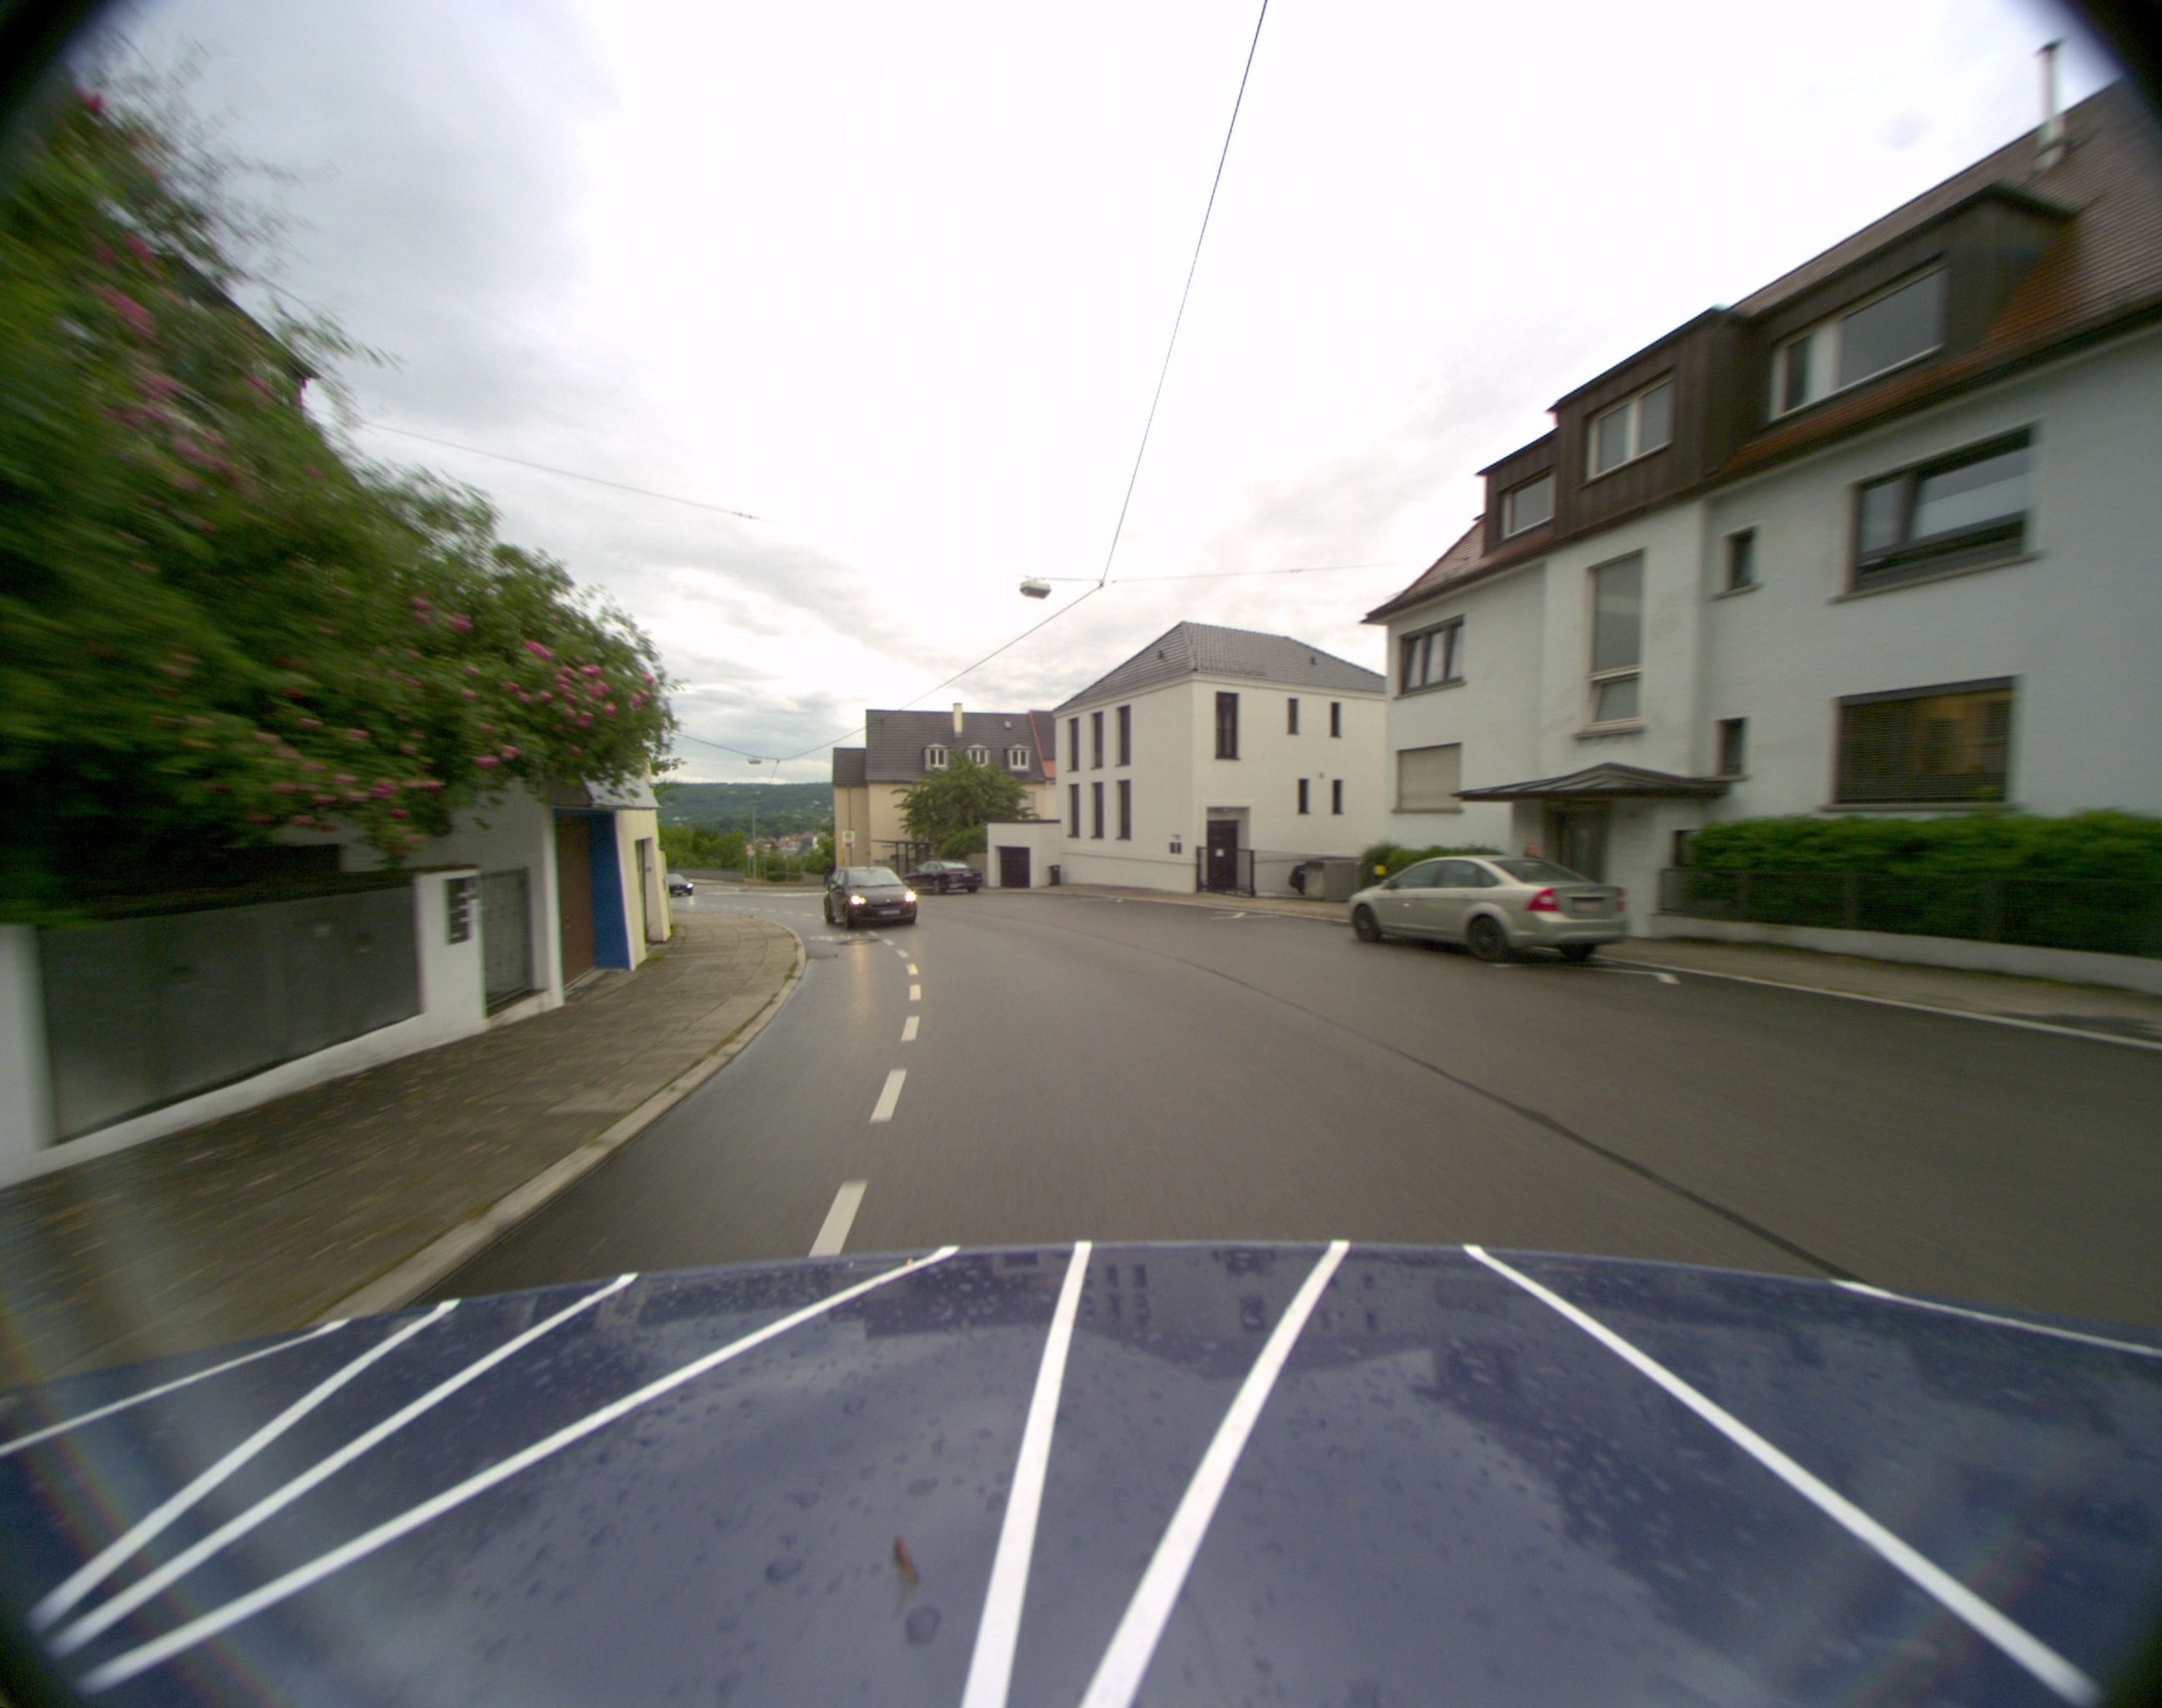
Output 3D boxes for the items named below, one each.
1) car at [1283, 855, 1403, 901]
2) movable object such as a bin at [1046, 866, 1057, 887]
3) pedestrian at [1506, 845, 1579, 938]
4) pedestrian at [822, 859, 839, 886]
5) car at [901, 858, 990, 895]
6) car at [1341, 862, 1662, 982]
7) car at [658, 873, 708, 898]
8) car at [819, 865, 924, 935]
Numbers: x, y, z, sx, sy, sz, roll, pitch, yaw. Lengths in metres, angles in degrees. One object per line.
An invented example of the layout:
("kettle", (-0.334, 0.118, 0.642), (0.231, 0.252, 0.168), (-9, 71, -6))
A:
("car", (9.433, 0.867, 27.305), (4.007, 1.345, 1.737), (4, 0, -29))
("movable object such as a bin", (-1.337, 1.012, 34.449), (0.372, 0.907, 0.282), (-1, 1, -33))
("pedestrian", (8.137, 0.649, 13.420), (0.946, 1.568, 0.494), (-2, 1, 5))
("pedestrian", (-17.293, 1.270, 52.367), (0.790, 1.847, 0.726), (-5, 3, -39))
("car", (-6.191, 0.945, 34.176), (1.838, 1.477, 4.978), (-3, 1, -37))
("car", (6.083, 0.859, 11.648), (1.843, 1.417, 4.223), (-1, 0, -17))
("car", (-25.579, 1.981, 48.756), (1.770, 1.445, 4.388), (-3, 1, -41))
("car", (-5.377, 1.073, 19.225), (1.684, 1.405, 3.628), (-4, 2, -29))
